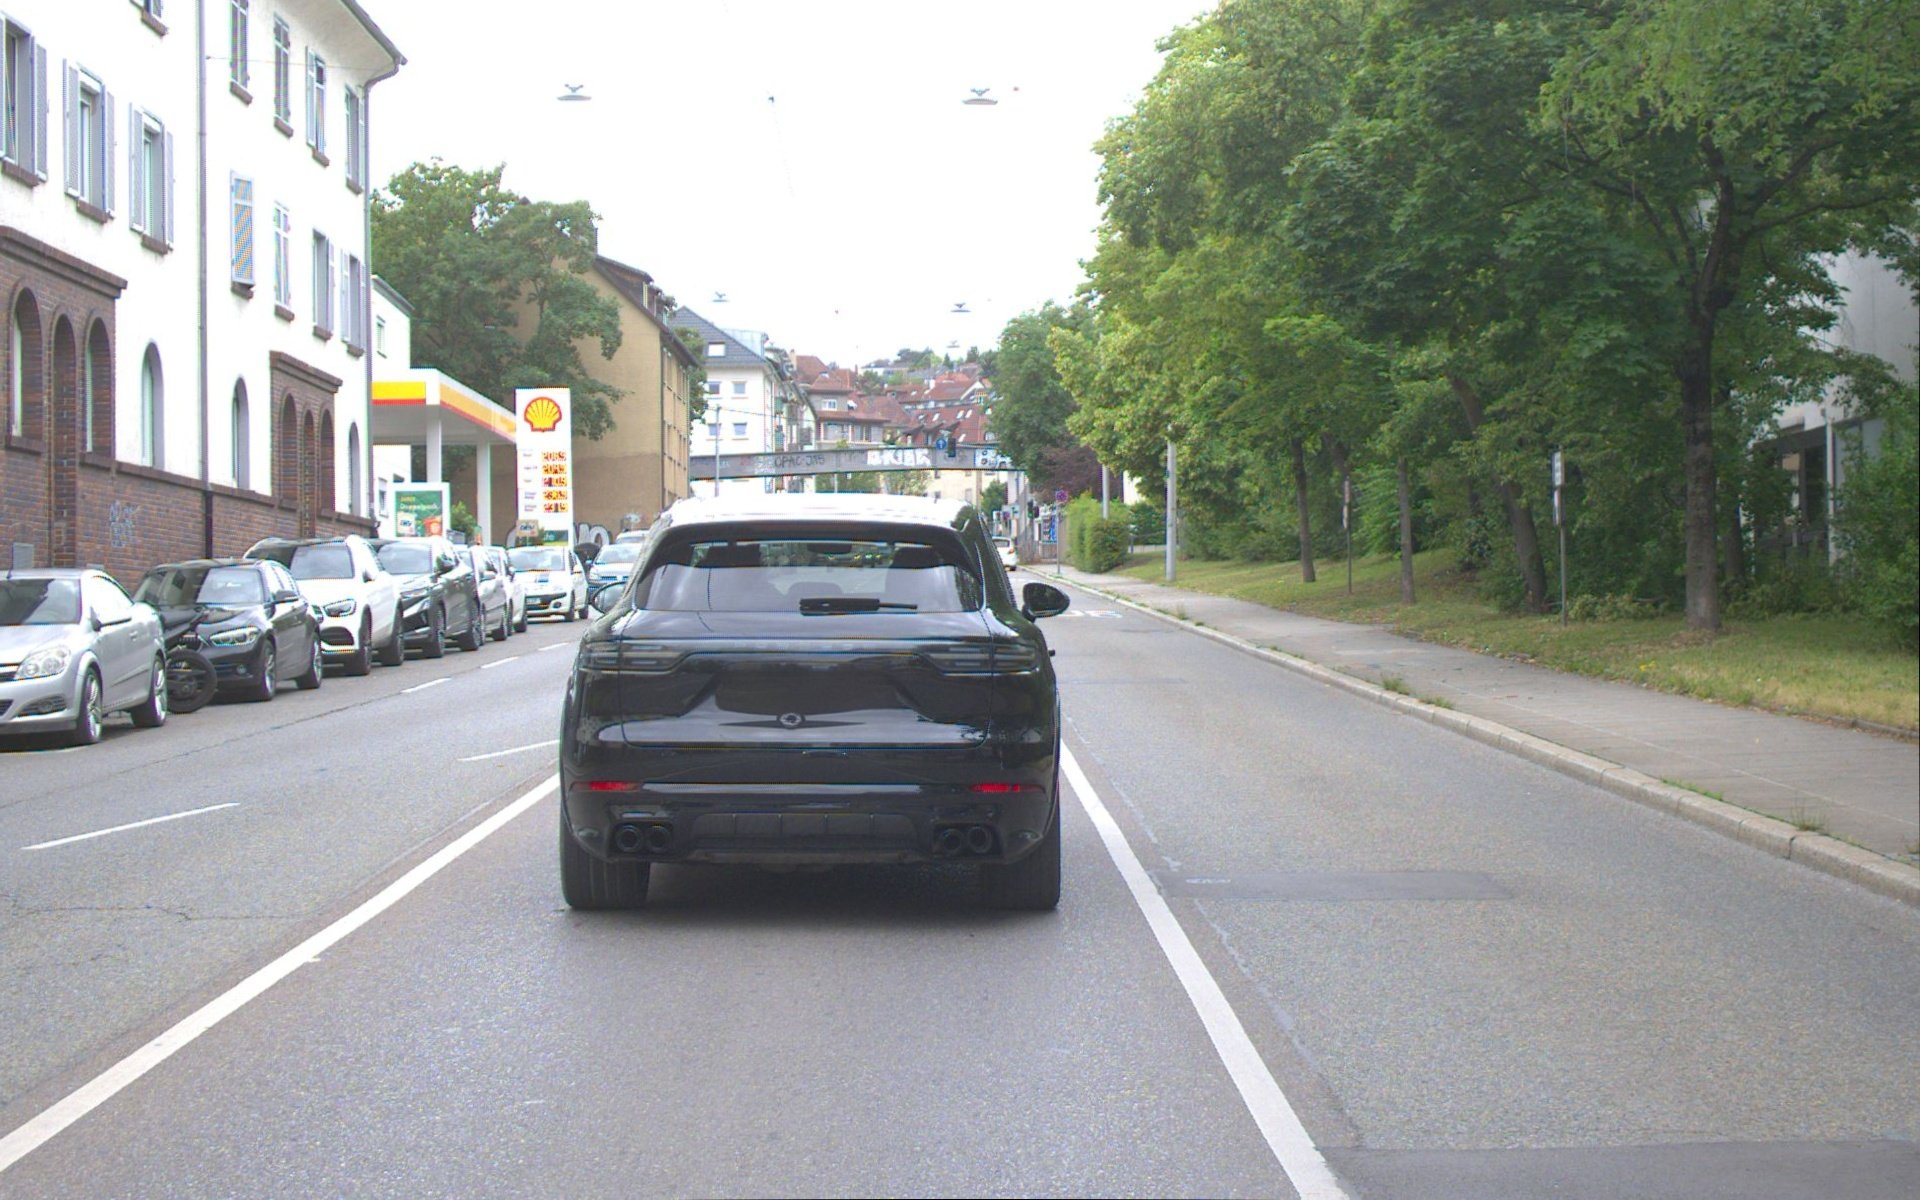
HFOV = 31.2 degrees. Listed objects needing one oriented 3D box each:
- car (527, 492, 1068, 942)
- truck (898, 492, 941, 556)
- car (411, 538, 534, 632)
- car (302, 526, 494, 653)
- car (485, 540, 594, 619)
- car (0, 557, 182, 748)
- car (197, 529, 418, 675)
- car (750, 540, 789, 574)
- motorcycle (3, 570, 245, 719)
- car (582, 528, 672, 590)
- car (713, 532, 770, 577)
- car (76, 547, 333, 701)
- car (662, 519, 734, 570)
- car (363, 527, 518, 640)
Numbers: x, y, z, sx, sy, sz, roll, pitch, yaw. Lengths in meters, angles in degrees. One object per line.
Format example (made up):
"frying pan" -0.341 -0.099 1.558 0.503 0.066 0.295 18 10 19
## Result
"car" -0.605 0.378 14.696 1.993 1.656 4.000 0 2 0
"truck" -2.253 -4.141 189.969 2.266 3.412 9.879 0 1 -1
"car" -8.024 -0.274 56.845 1.547 1.470 3.604 -1 1 -1
"car" -7.577 -0.186 46.734 1.727 1.593 4.502 -1 1 2
"car" -8.062 -0.418 66.123 1.619 1.420 3.665 -1 1 0
"car" -7.618 0.376 27.875 1.727 1.369 4.338 -1 1 -2
"car" -7.785 -0.027 41.418 1.845 1.615 4.644 -1 1 -1
"car" -9.002 -2.042 162.629 1.745 1.563 3.909 -2 1 -2
"motorcycle" -7.657 0.392 31.486 2.039 1.231 0.808 -3 2 -18
"car" -8.145 -1.014 84.265 1.790 1.445 4.218 -1 1 0
"car" -8.399 -1.768 132.489 1.783 1.603 4.264 -3 1 1
"car" -7.653 0.199 35.178 1.727 1.424 4.192 -1 1 -1
"car" -8.408 -1.787 110.768 1.915 1.572 4.700 -1 1 0
"car" -7.796 -0.268 51.911 1.727 1.553 4.082 -3 1 -1
